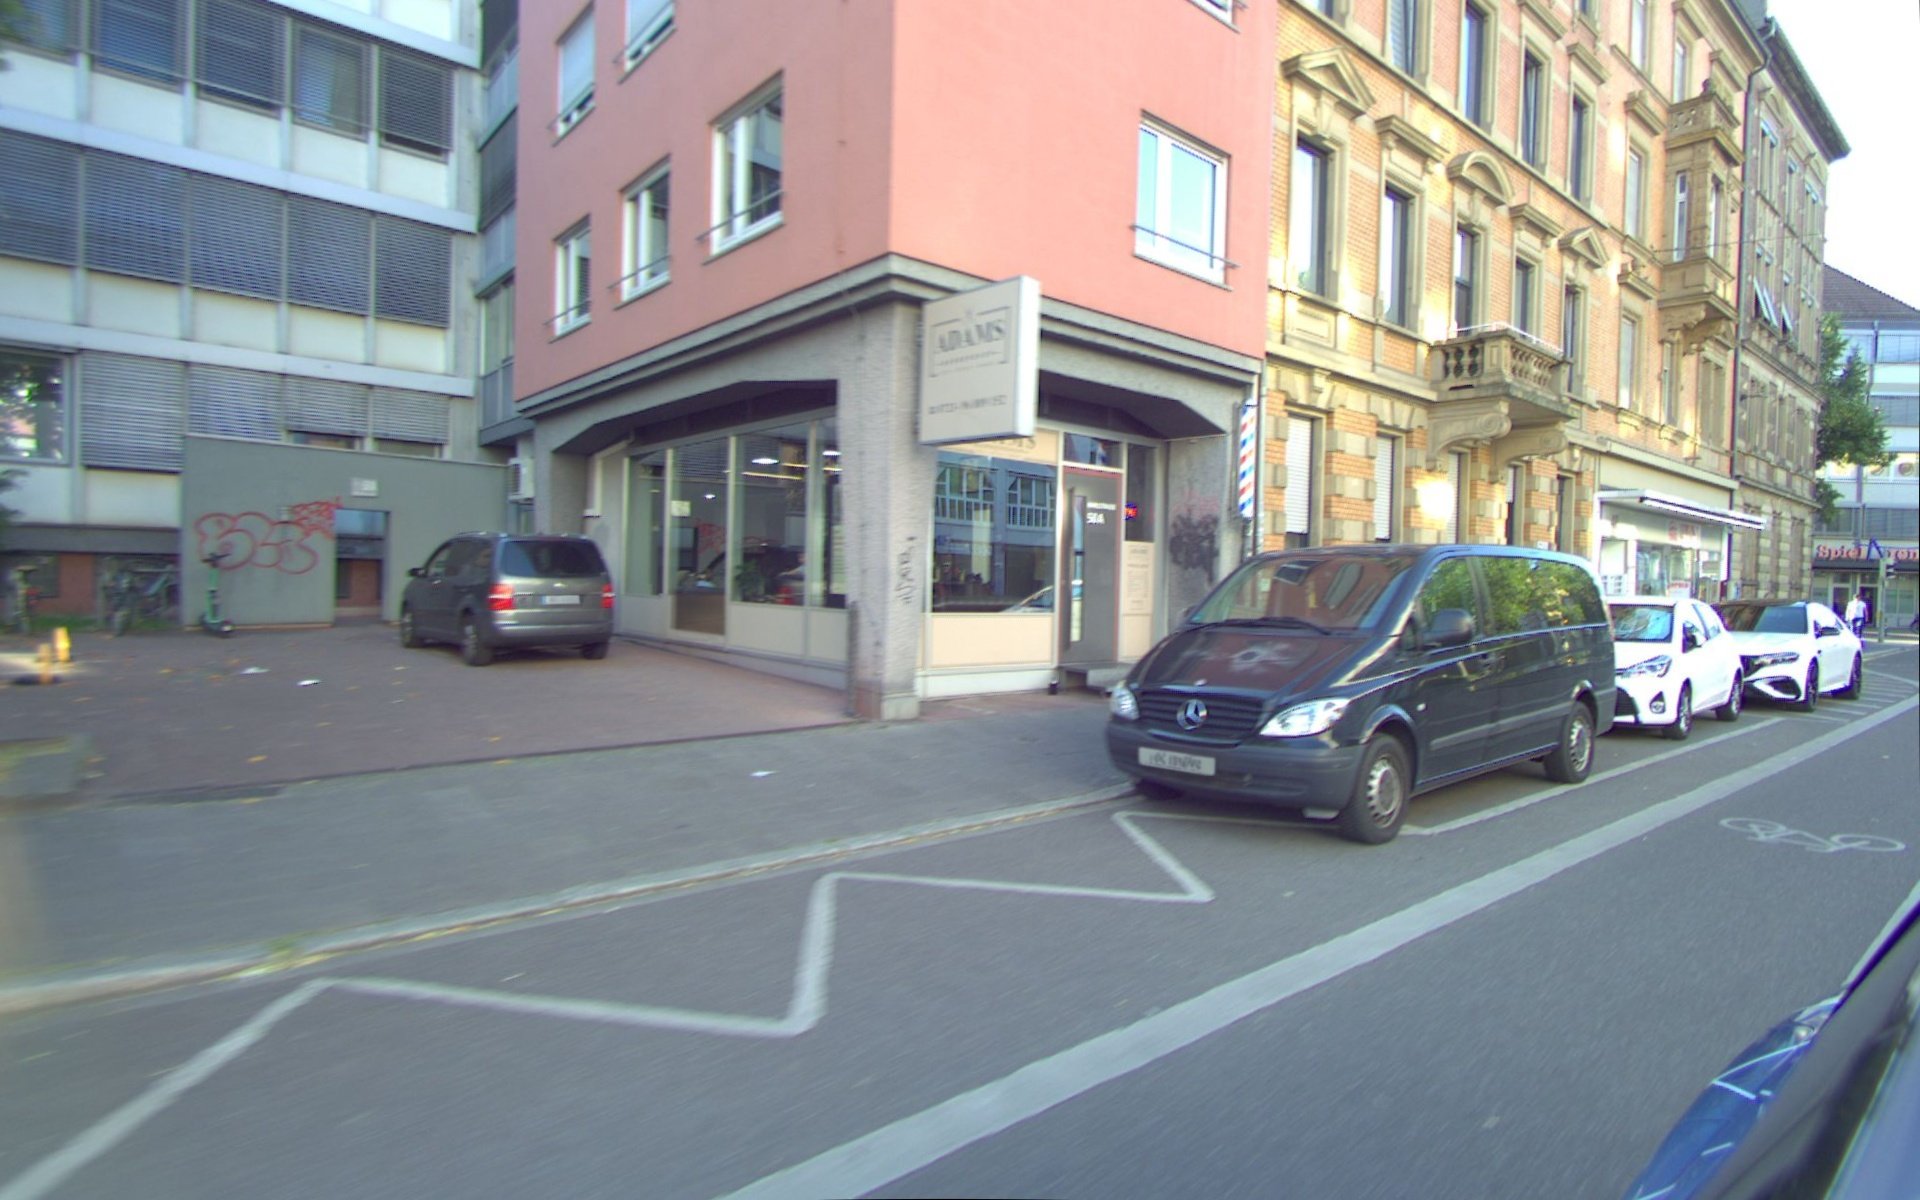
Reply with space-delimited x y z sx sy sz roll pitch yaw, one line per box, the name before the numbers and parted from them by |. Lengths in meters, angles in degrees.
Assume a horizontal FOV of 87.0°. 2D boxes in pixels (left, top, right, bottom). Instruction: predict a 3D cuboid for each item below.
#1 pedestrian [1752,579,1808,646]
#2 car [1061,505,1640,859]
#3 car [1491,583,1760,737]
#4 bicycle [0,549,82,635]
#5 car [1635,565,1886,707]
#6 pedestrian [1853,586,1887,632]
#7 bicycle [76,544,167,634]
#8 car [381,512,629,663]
pedestrian | 20.564 0.299 25.392 0.897 1.585 0.778 1 4 -37
car | 3.210 0.430 7.737 4.898 1.892 1.960 0 0 -39
car | 7.925 0.580 11.924 3.893 1.515 1.733 0 0 -42
bicycle | -13.390 -0.148 14.592 0.846 1.056 2.384 1 4 -35
car | 12.064 0.439 15.128 4.788 1.794 1.971 0 1 -39
pedestrian | 34.776 0.330 38.676 1.014 1.686 0.785 3 0 -39
bicycle | -12.573 -0.199 15.232 0.846 1.185 2.328 1 4 -35
car | -6.272 -0.263 13.724 1.749 1.668 4.034 0 4 -45
